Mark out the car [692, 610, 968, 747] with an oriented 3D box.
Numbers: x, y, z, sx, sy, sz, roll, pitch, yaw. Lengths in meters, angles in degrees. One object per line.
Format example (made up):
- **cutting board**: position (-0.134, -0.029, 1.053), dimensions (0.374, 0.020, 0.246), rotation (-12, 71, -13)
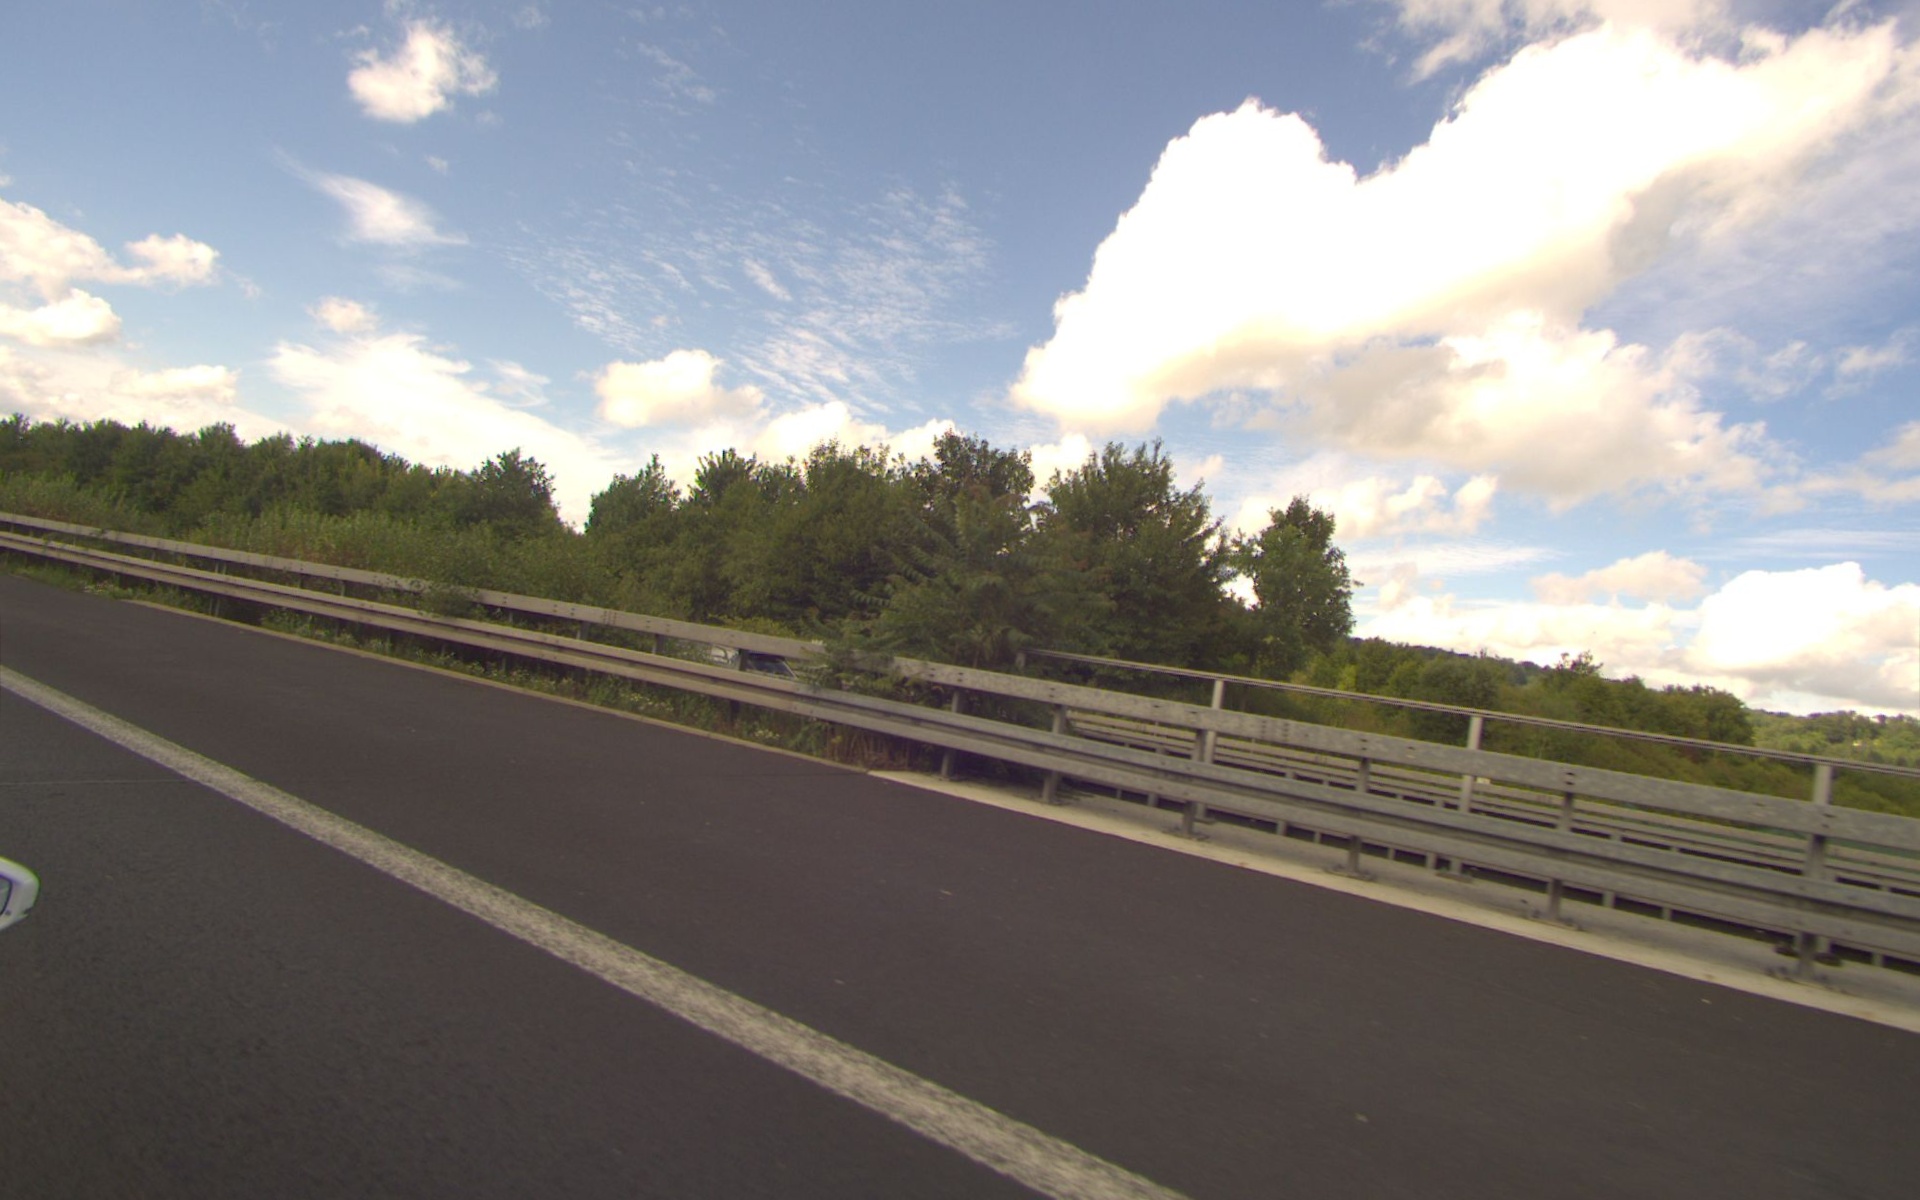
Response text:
- **car**: position (-2.220, 1.257, 16.711), dimensions (4.274, 1.589, 1.787), rotation (7, -2, 34)
